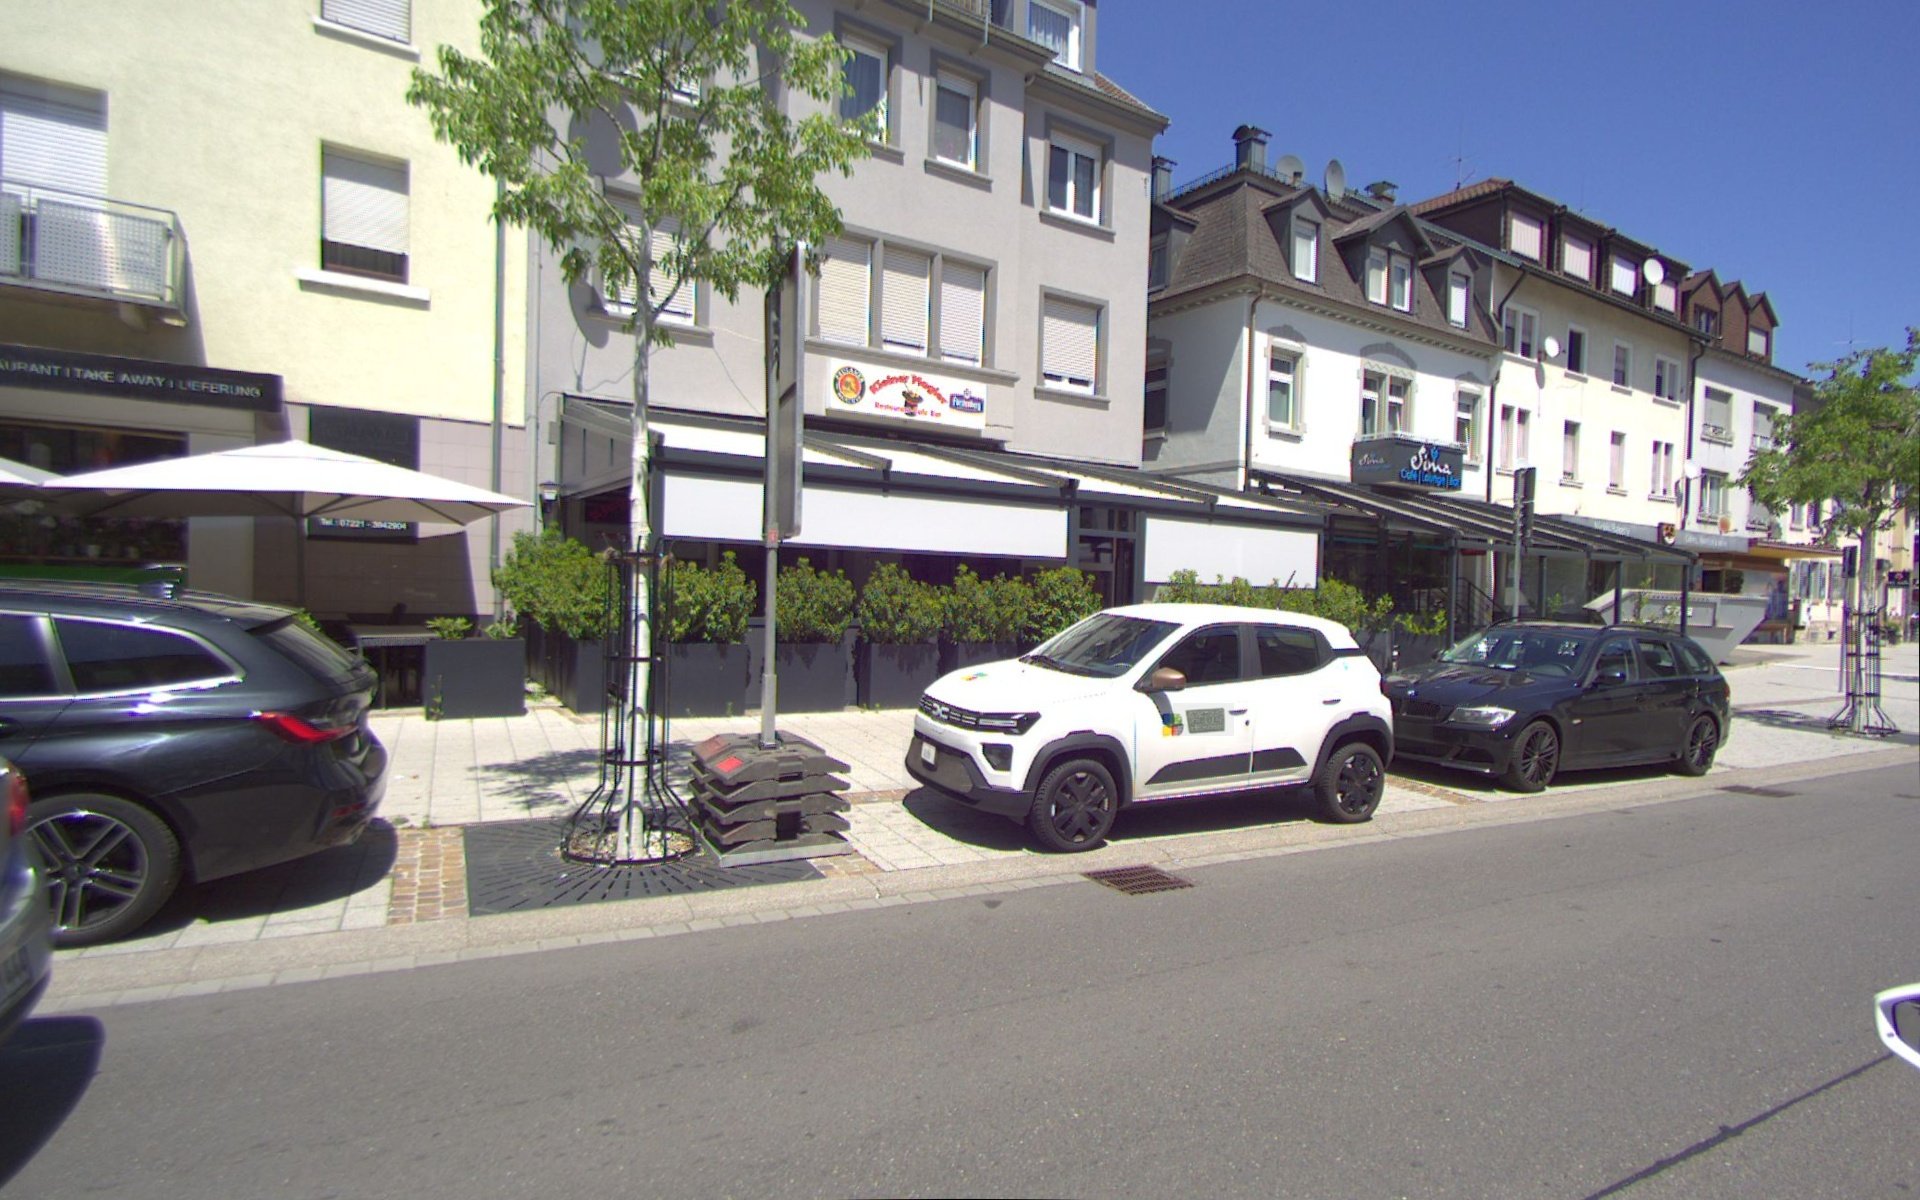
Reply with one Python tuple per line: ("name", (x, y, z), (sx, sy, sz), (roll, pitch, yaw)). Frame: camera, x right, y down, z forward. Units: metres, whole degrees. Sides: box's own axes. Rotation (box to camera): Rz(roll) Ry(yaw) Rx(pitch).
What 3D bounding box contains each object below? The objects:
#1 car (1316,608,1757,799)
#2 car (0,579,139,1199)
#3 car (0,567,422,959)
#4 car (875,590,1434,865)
("car", (5.825, 0.906, 10.036), (4.395, 1.465, 1.746), (2, 2, -29))
("car", (-4.144, 0.658, 1.634), (4.035, 1.503, 1.674), (2, -2, -28))
("car", (-4.827, 0.616, 4.378), (4.284, 1.504, 1.674), (2, 2, -27))
("car", (1.437, 0.774, 7.330), (3.720, 1.504, 1.674), (2, 2, -27))
